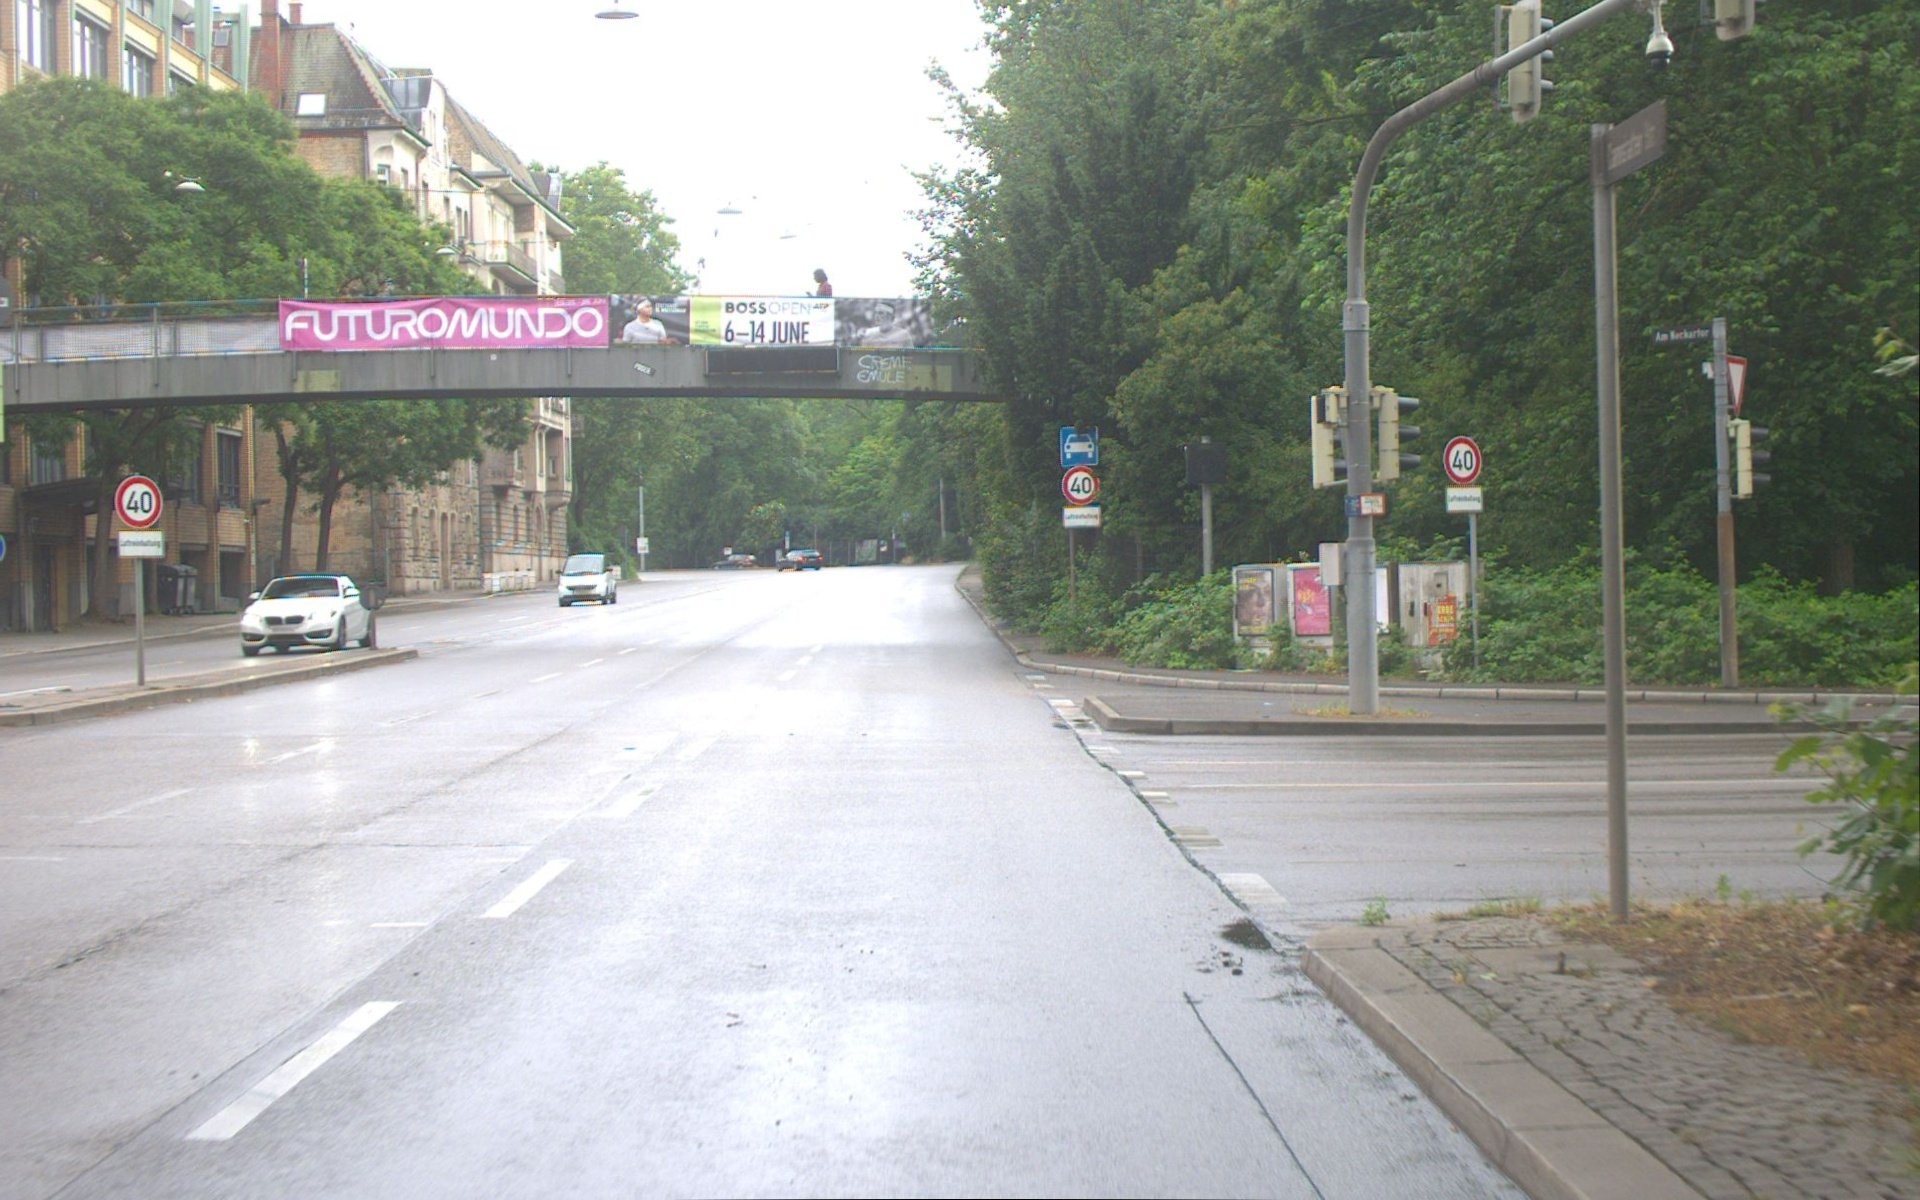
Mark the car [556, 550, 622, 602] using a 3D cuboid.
[{"bbox_3d":[-11.368,-0.737,105.439,1.600,1.494,3.711,-2,0,0],"label":"car"}]

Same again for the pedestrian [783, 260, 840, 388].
[{"bbox_3d":[-2.844,-5.257,65.701,0.954,2.337,1.007,2,0,-6],"label":"pedestrian"}]

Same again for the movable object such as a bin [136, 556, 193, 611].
[{"bbox_3d":[-22.164,-0.455,95.769,1.282,1.513,1.273,0,1,0],"label":"movable object such as a bin"}]

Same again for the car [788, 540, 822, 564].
[{"bbox_3d":[-10.629,-3.297,235.809,2.004,1.638,4.377,-1,1,-7],"label":"car"}]

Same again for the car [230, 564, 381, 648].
[{"bbox_3d":[-11.656,0.088,61.479,1.830,1.389,4.405,-2,0,0],"label":"car"}]
